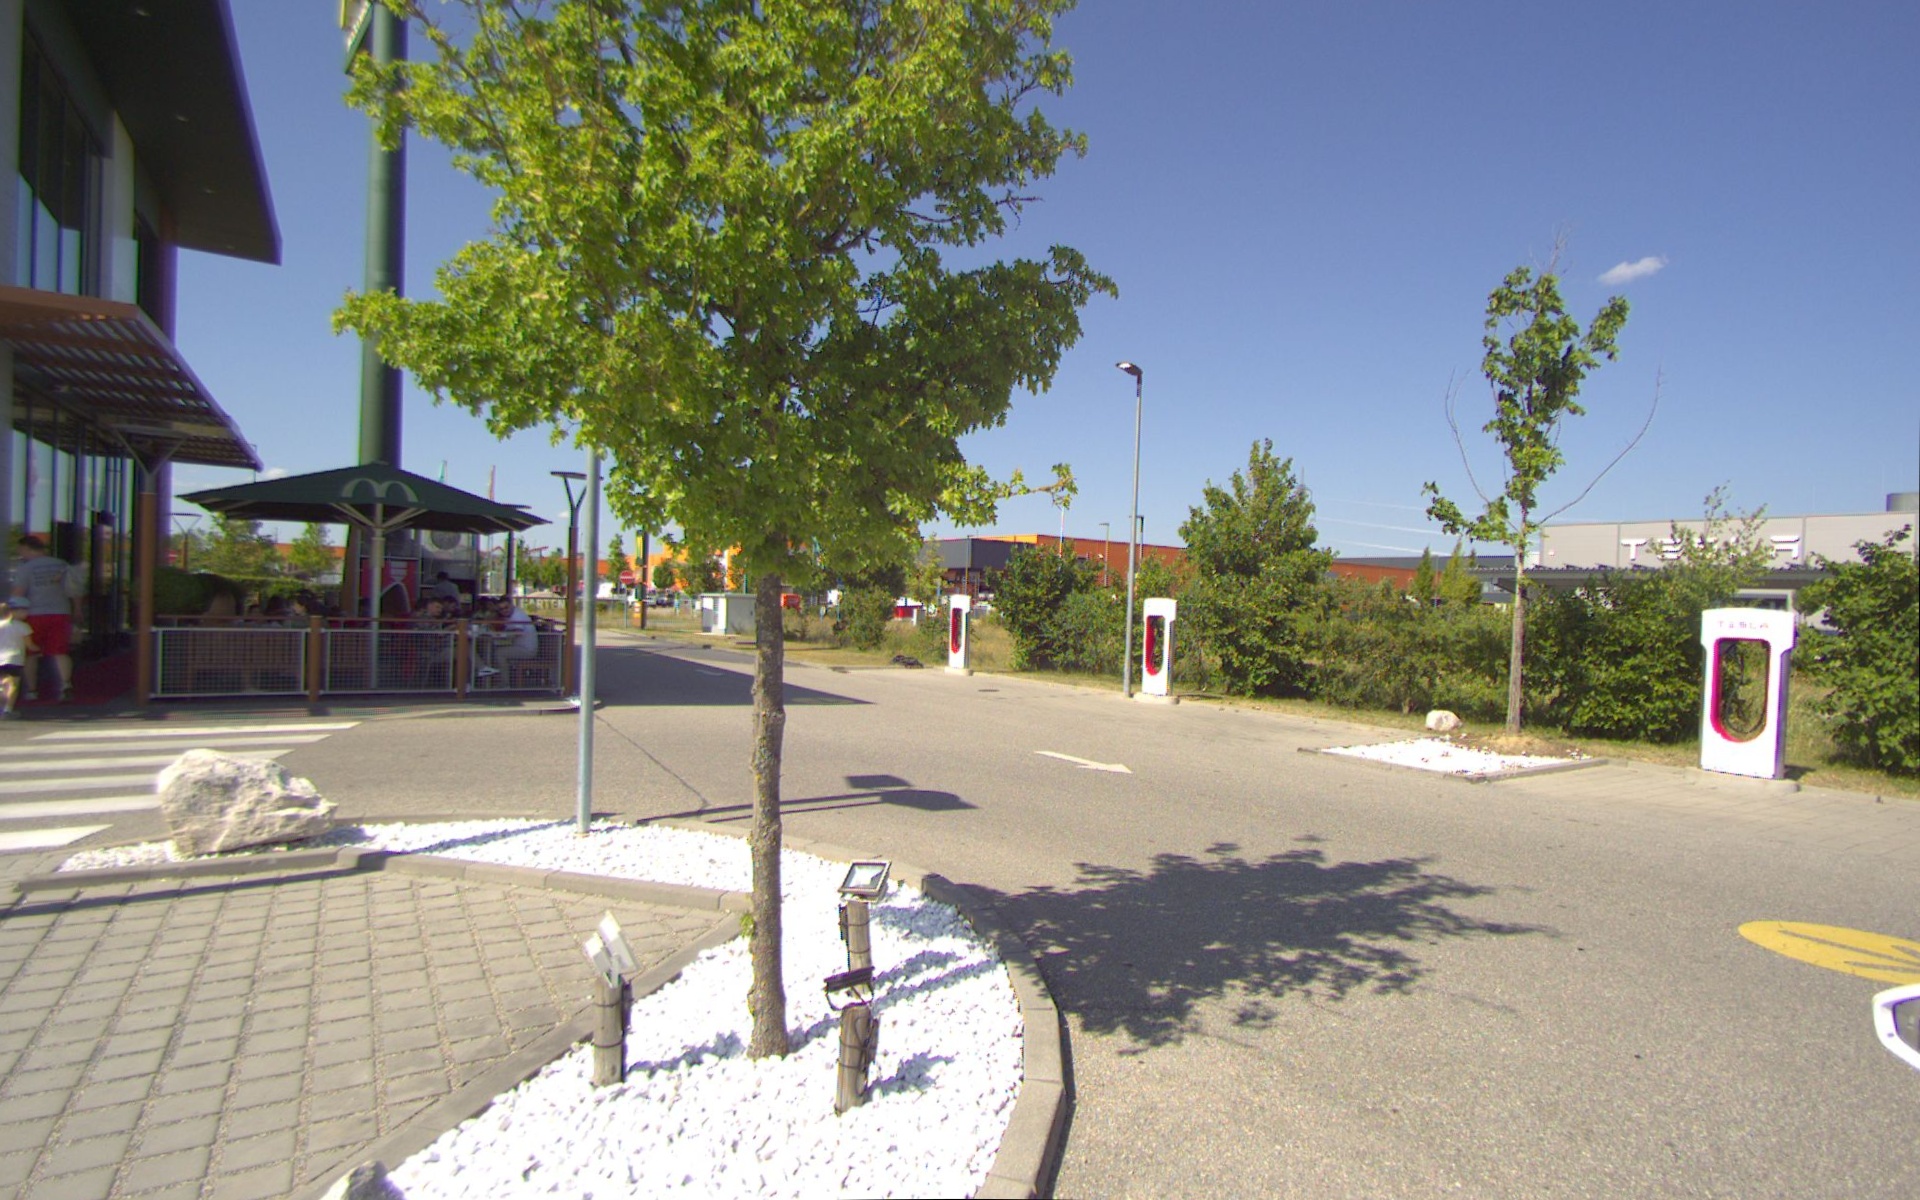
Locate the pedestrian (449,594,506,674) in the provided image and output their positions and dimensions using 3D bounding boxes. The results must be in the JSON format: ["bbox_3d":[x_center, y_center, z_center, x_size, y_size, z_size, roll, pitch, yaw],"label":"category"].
[{"bbox_3d":[-7.899,0.553,16.446,0.723,1.274,0.567,1,0,-37],"label":"pedestrian"}]

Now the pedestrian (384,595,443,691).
[{"bbox_3d":[-7.543,0.584,13.858,0.628,1.274,0.519,1,0,-36],"label":"pedestrian"}]

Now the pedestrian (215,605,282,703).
[{"bbox_3d":[-8.640,0.643,12.206,0.628,1.139,0.519,1,0,-36],"label":"pedestrian"}]

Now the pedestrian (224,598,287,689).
[{"bbox_3d":[-9.056,0.550,12.916,0.628,1.139,0.519,1,0,-36],"label":"pedestrian"}]

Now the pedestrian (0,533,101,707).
[{"bbox_3d":[-9.935,0.211,10.902,0.890,1.791,0.794,2,0,-40],"label":"pedestrian"}]

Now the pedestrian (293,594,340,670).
[{"bbox_3d":[-9.734,0.482,15.207,0.567,1.115,0.650,1,0,-33],"label":"pedestrian"}]

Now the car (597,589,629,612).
[{"bbox_3d":[-32.940,0.067,95.277,1.978,2.040,3.966,3,-1,-32],"label":"car"}]

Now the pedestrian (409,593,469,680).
[{"bbox_3d":[-7.832,0.538,15.108,0.709,1.274,0.519,1,0,-36],"label":"pedestrian"}]

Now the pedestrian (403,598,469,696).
[{"bbox_3d":[-7.061,0.616,13.535,0.709,1.274,0.519,1,0,-36],"label":"pedestrian"}]

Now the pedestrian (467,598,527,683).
[{"bbox_3d":[-7.186,0.618,15.599,0.723,1.274,0.567,1,0,-37],"label":"pedestrian"}]

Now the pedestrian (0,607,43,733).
[{"bbox_3d":[-9.327,0.674,9.834,0.444,1.202,0.486,1,0,-38],"label":"pedestrian"}]

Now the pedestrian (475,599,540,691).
[{"bbox_3d":[-6.459,0.634,14.335,0.723,1.274,0.567,1,0,-37],"label":"pedestrian"}]

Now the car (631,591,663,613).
[{"bbox_3d":[-30.334,0.205,97.405,1.978,2.040,3.966,3,-1,-32],"label":"car"}]
